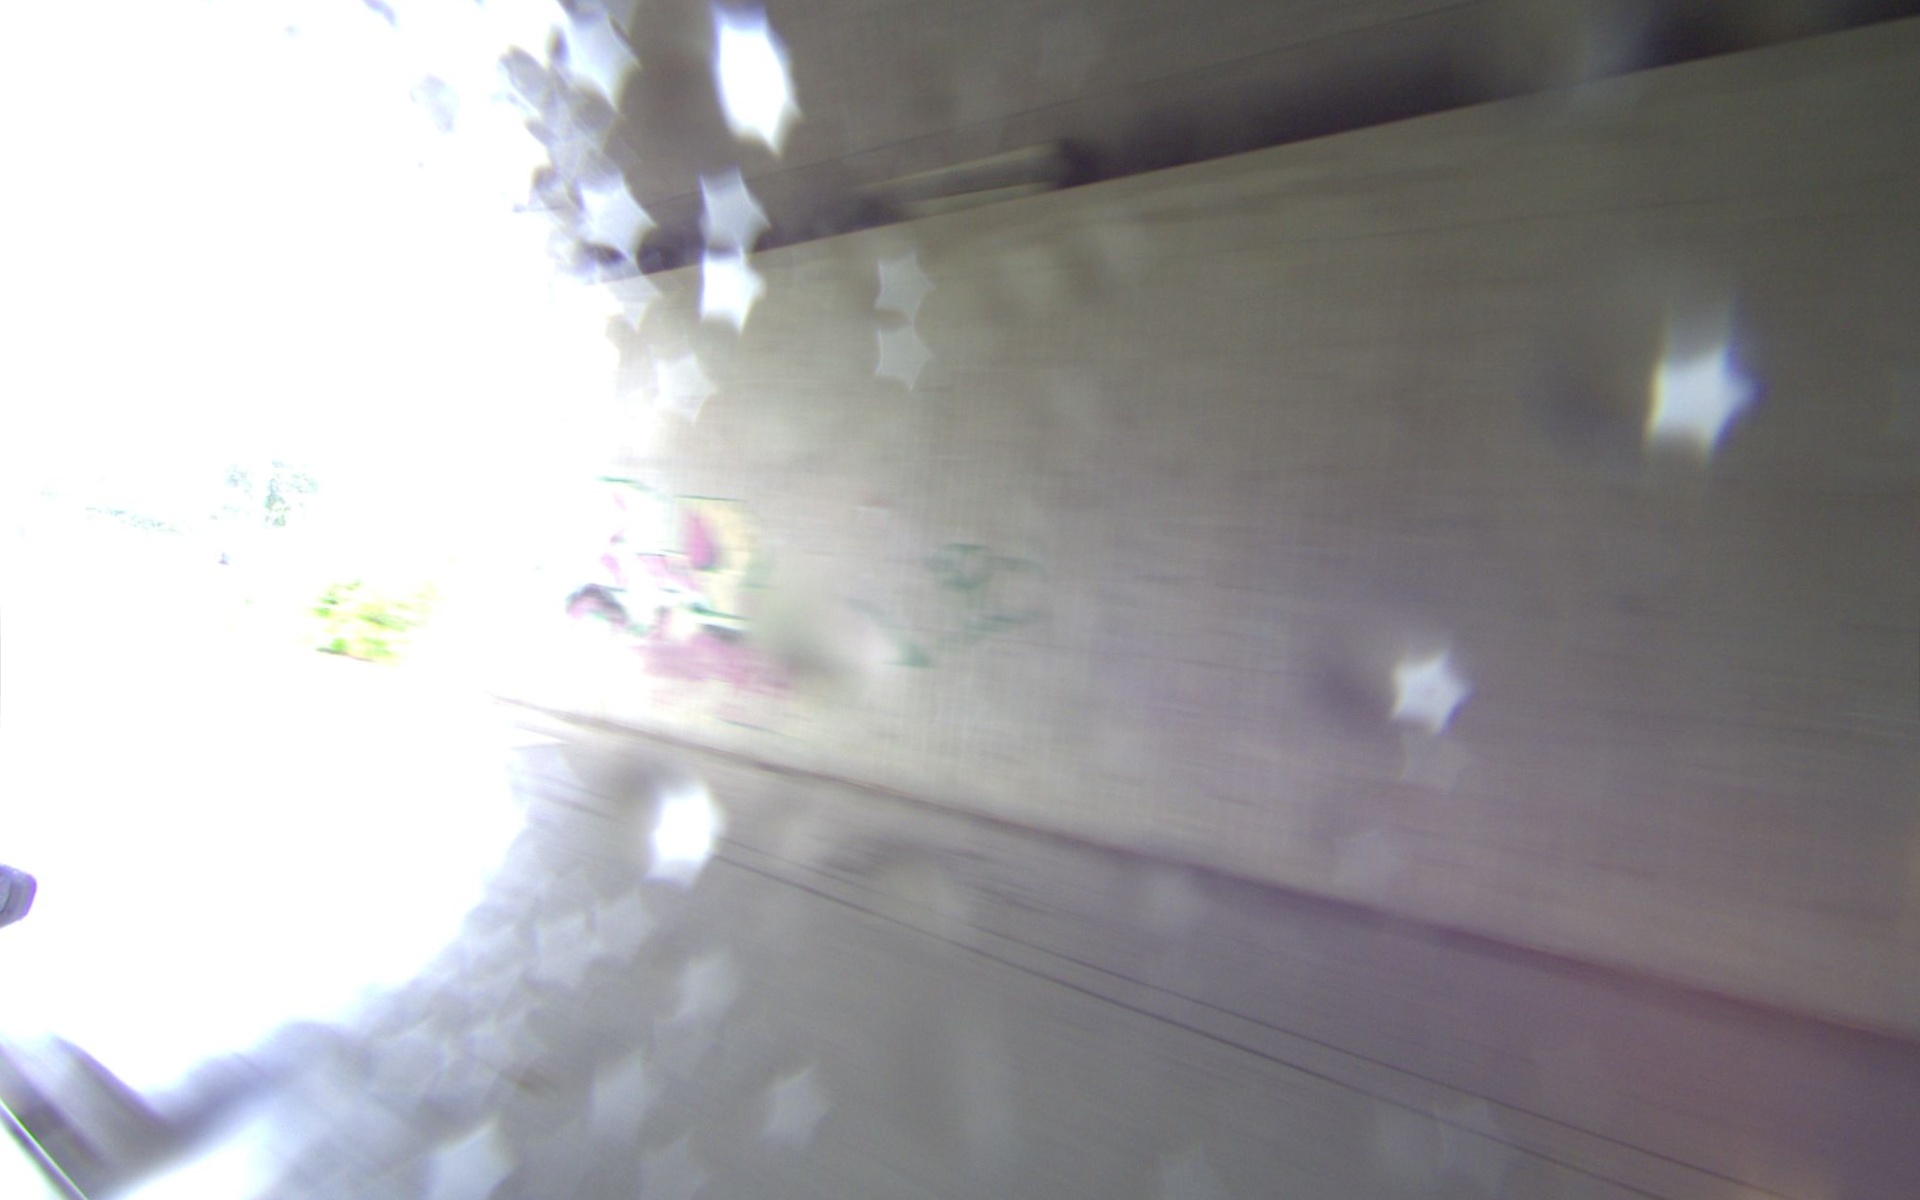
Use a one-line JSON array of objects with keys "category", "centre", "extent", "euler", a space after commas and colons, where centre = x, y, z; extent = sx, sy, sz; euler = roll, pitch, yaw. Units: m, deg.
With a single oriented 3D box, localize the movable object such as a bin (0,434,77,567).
[{"category": "movable object such as a bin", "centre": [-21.043, -2.228, 20.626], "extent": [2.224, 2.700, 6.592], "euler": [8, -2, -23]}]
